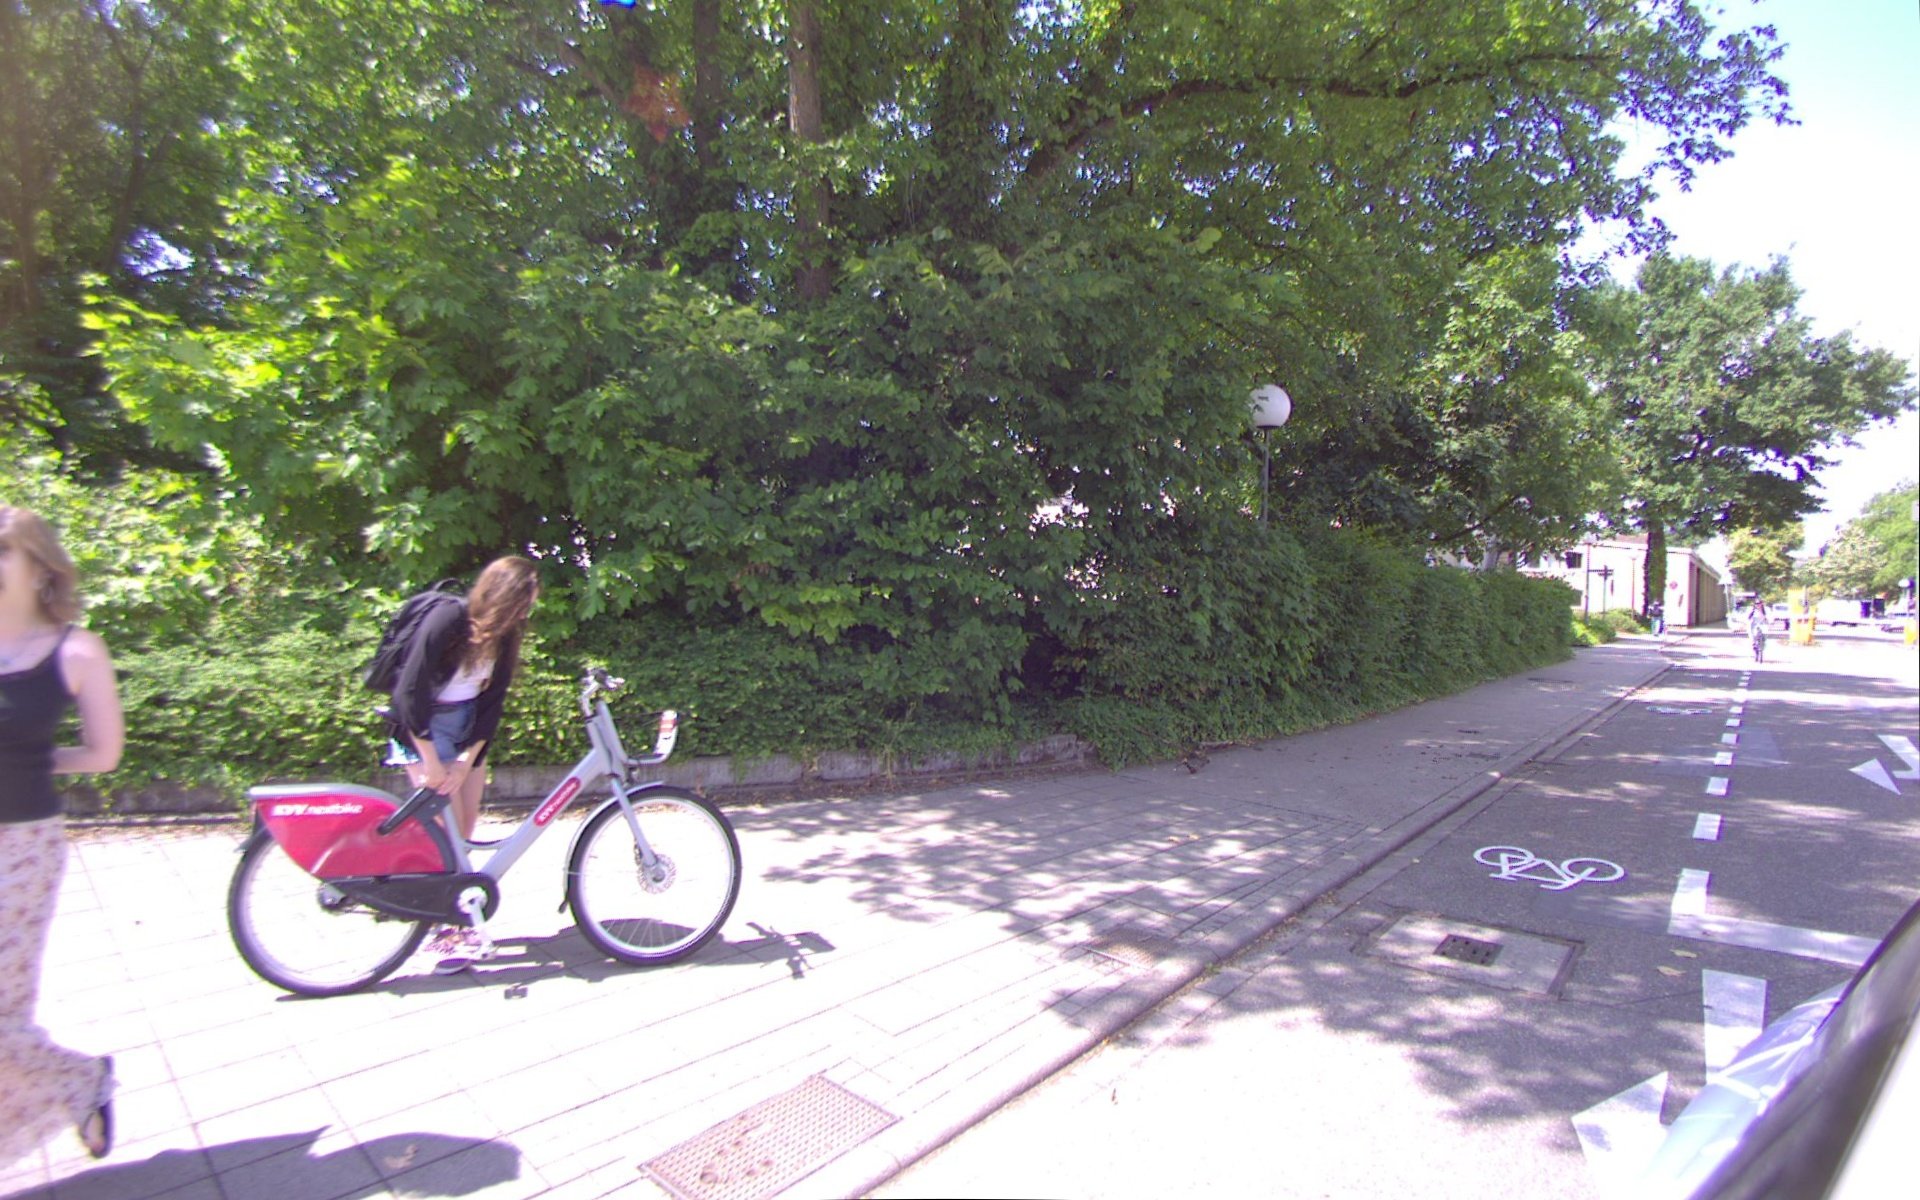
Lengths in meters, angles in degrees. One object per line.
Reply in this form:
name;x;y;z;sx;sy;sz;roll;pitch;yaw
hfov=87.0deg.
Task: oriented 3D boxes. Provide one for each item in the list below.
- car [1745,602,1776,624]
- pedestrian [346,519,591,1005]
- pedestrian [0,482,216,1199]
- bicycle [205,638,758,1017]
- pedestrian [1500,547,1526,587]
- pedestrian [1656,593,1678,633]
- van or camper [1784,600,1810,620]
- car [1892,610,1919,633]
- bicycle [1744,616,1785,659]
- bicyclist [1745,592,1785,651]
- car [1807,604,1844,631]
car;61.326;0.989;77.545;1.753;1.588;3.764;3;1;38
pedestrian;-1.790;0.517;3.767;0.718;1.595;0.729;1;3;-22
pedestrian;-2.230;0.548;2.277;0.731;1.595;0.763;2;1;44
bicycle;-1.681;0.744;3.771;1.706;1.140;0.595;1;3;-22
pedestrian;28.512;-1.694;52.151;0.927;2.039;0.935;2;0;43
pedestrian;30.500;0.557;43.676;0.737;1.695;1.240;1;0;36
van or camper;102.562;1.229;124.040;4.311;2.391;1.995;1;1;-45
car;66.917;1.502;71.171;1.723;1.554;4.343;-1;0;39
bicycle;21.256;0.970;26.760;0.777;1.061;1.887;2;1;37
bicyclist;21.292;0.550;26.783;0.777;1.505;0.686;2;0;38
car;63.052;1.265;73.768;1.991;1.838;3.941;2;1;40
